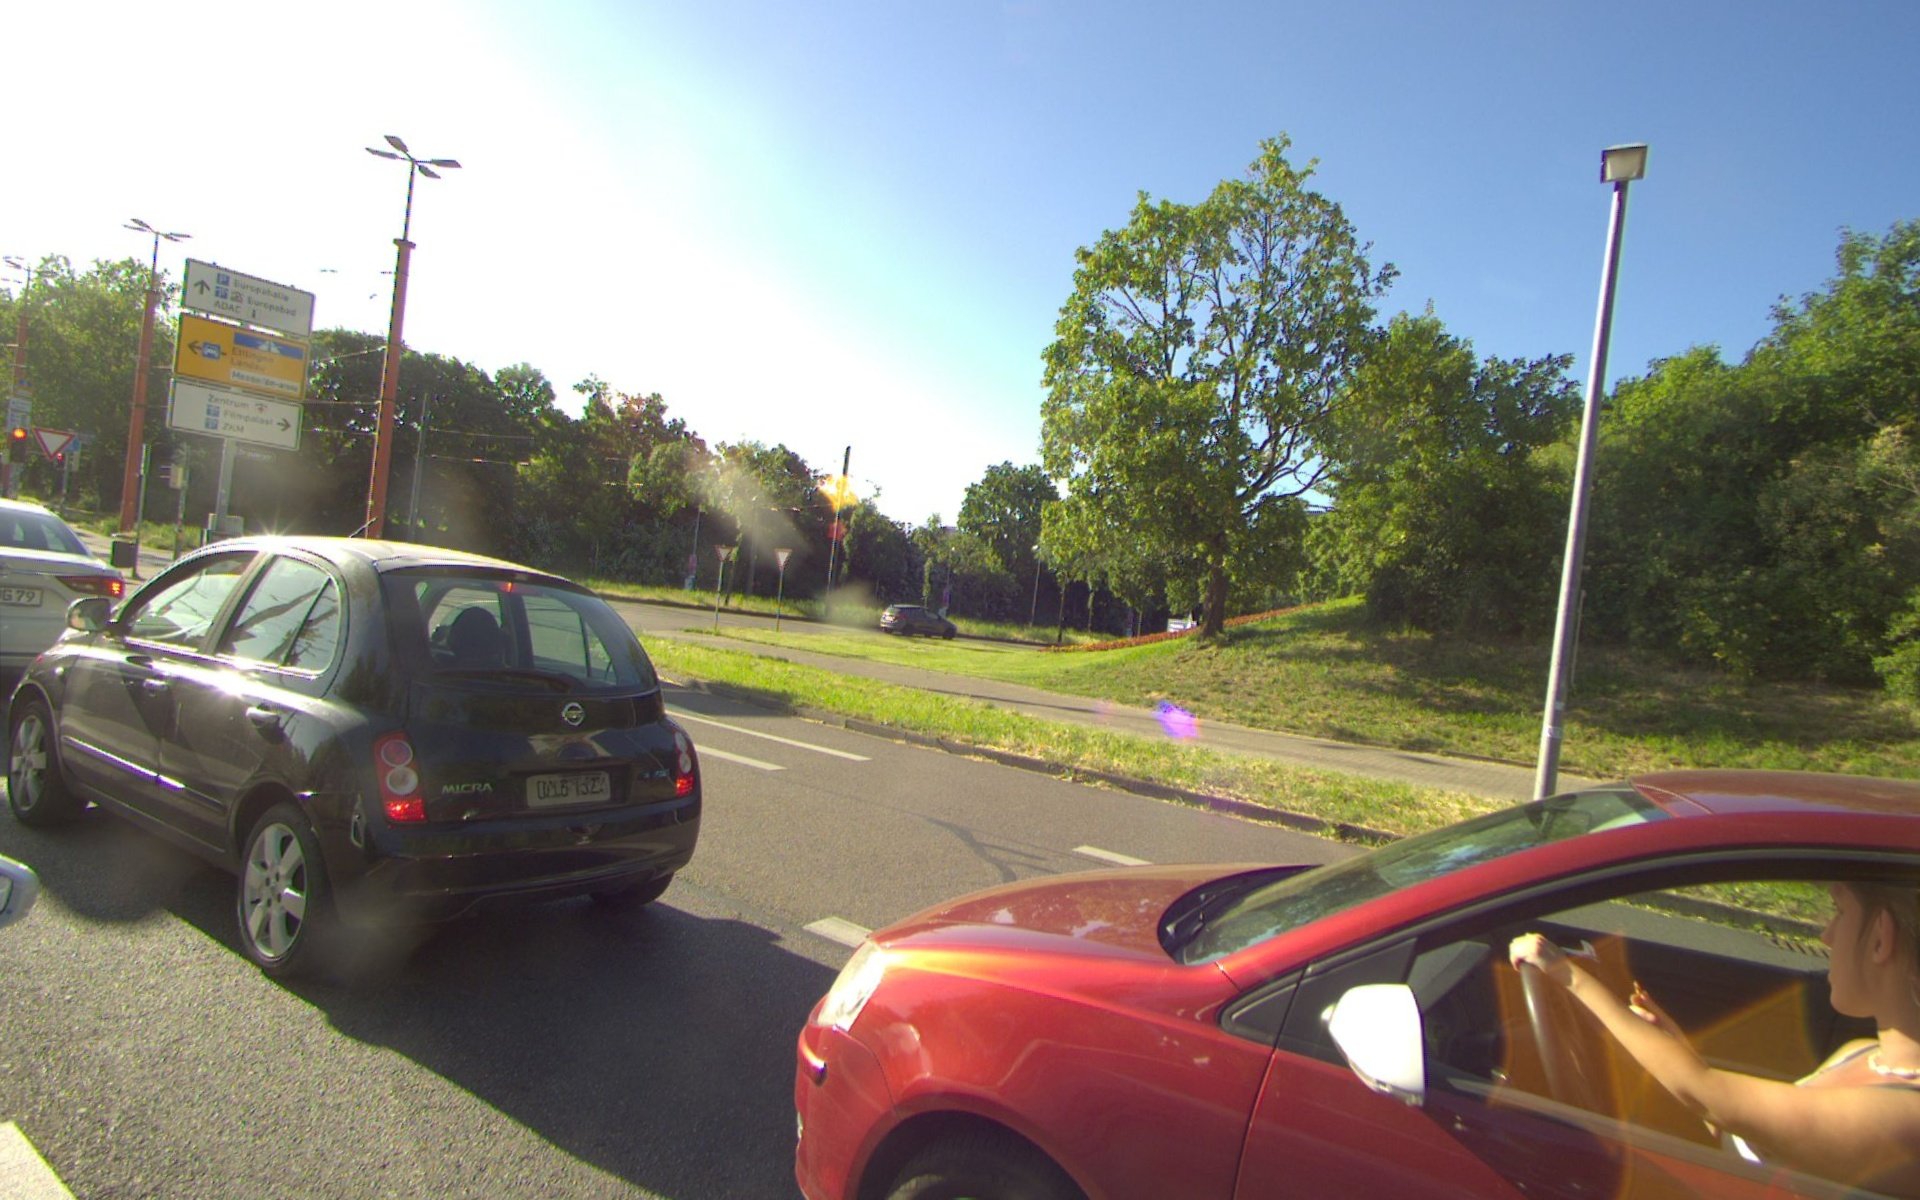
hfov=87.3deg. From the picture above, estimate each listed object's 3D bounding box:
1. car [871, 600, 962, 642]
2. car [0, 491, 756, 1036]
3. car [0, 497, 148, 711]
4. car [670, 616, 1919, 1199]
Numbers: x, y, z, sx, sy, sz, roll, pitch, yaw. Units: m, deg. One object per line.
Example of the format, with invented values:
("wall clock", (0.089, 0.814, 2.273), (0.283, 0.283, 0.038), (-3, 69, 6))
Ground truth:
("car", (-2.029, 0.989, 47.124), (3.859, 1.486, 1.734), (8, -1, -37))
("car", (-2.834, 0.462, 4.636), (3.457, 1.524, 1.558), (7, 0, 32))
("car", (-8.359, -0.166, 7.989), (4.077, 1.472, 1.717), (7, -1, 33))
("car", (1.358, 0.989, 1.905), (3.634, 1.434, 1.624), (7, -1, 34))
